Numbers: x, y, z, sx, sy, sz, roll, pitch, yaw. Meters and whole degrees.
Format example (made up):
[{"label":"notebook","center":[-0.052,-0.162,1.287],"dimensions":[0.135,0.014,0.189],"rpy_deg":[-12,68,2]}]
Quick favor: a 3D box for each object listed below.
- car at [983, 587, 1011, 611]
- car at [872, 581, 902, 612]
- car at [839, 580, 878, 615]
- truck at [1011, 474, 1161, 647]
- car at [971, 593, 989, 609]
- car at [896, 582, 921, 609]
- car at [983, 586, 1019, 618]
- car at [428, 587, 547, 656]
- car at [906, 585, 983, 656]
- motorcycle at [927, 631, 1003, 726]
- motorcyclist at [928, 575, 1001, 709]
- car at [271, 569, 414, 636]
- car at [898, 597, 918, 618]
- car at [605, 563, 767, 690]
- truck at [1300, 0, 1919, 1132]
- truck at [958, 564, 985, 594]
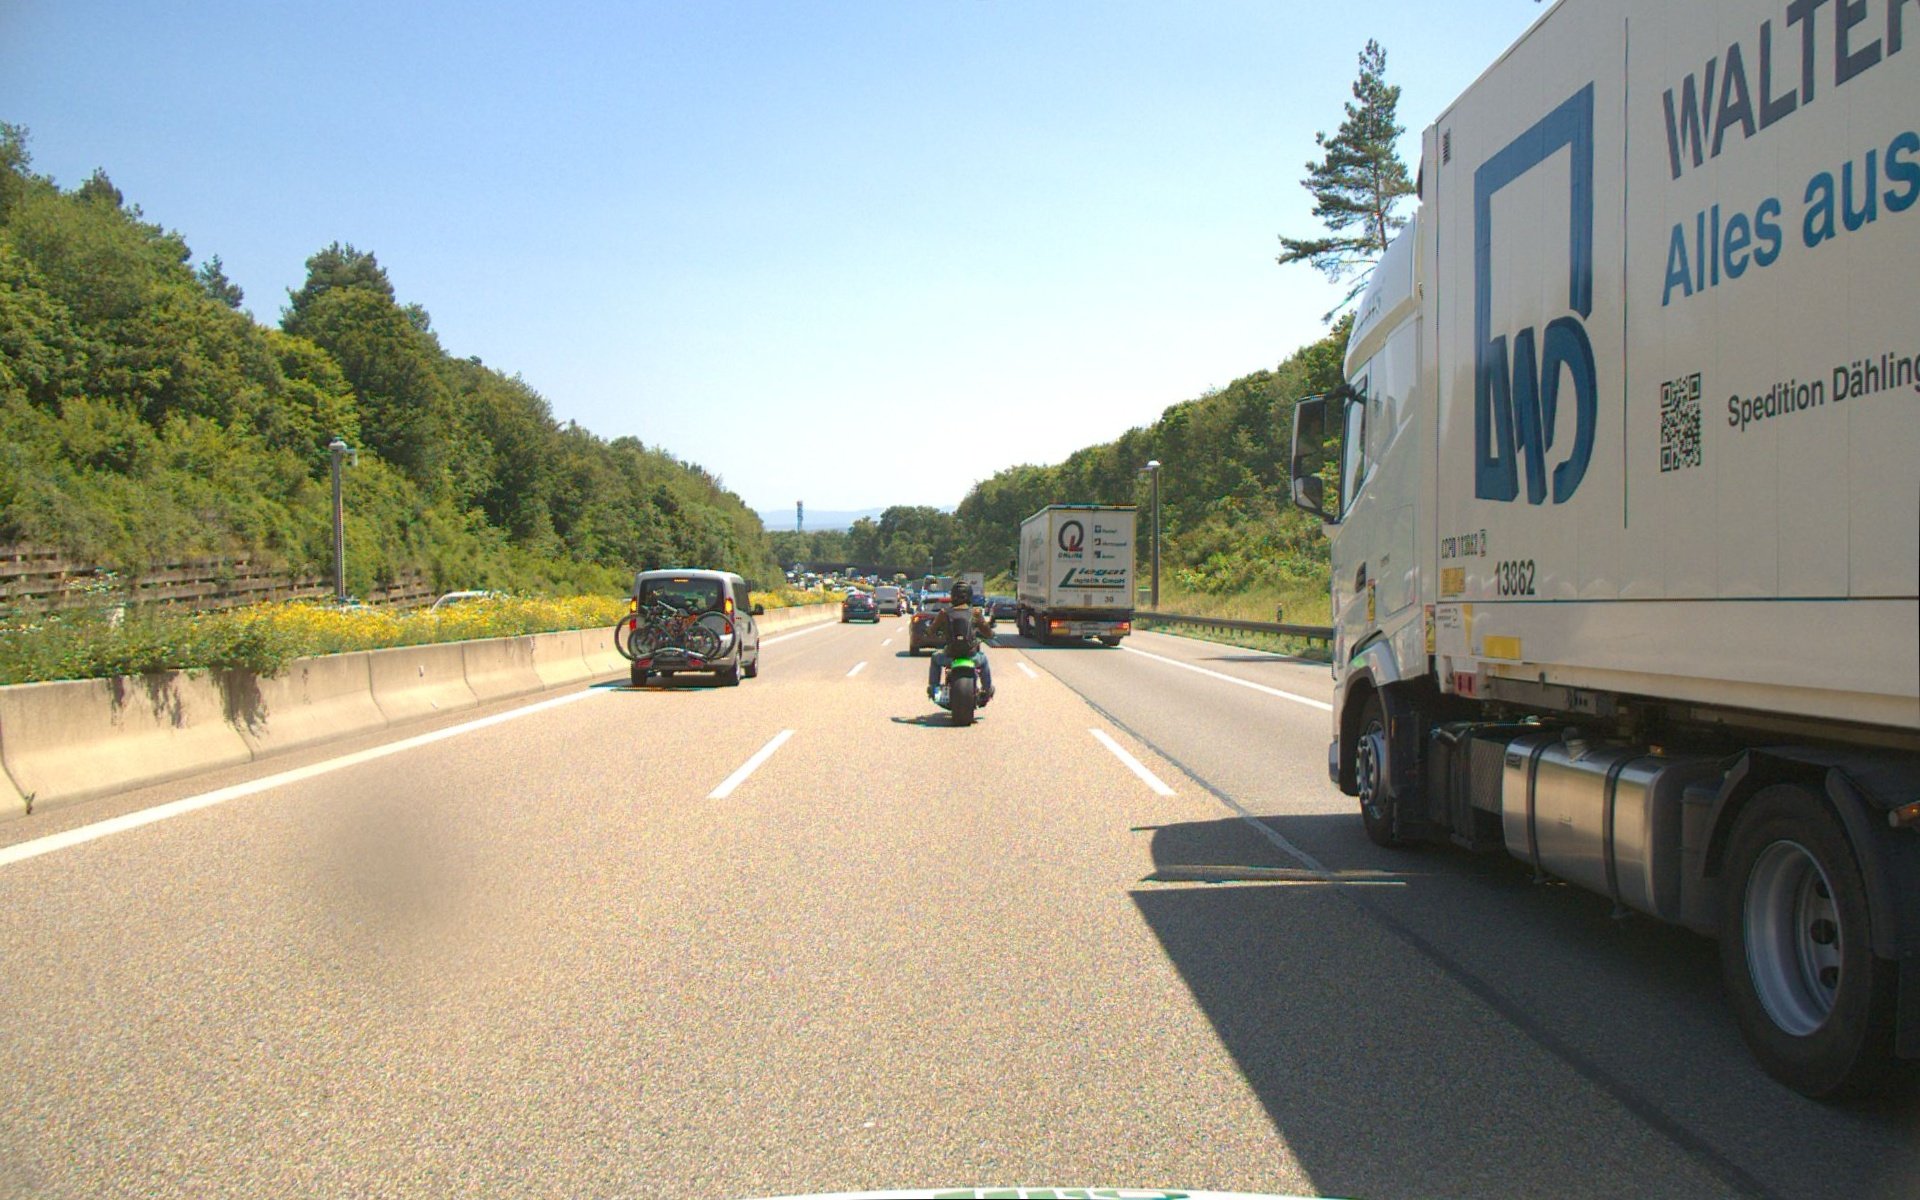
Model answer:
[{"label":"car","center":[2.573,-0.076,116.594],"dimensions":[1.794,1.585,4.119],"rpy_deg":[1,1,-1]},{"label":"car","center":[-4.628,-0.214,105.542],"dimensions":[1.794,1.842,4.119],"rpy_deg":[1,1,-1]},{"label":"car","center":[-5.049,-0.140,82.401],"dimensions":[1.722,1.570,4.394],"rpy_deg":[1,1,-1]},{"label":"truck","center":[3.827,-1.298,55.582],"dimensions":[3.314,4.800,17.707],"rpy_deg":[2,1,-1]},{"label":"car","center":[2.107,0.064,174.180],"dimensions":[1.794,1.585,4.119],"rpy_deg":[1,1,-1]},{"label":"car","center":[-3.807,-0.371,122.459],"dimensions":[1.794,1.842,4.119],"rpy_deg":[1,1,-1]},{"label":"car","center":[2.230,0.088,90.612],"dimensions":[1.794,1.585,4.119],"rpy_deg":[1,1,-1]},{"label":"car","center":[-11.373,0.483,40.054],"dimensions":[1.752,1.548,4.202],"rpy_deg":[-1,0,-2]},{"label":"car","center":[-0.419,0.463,41.499],"dimensions":[1.808,1.584,4.439],"rpy_deg":[1,1,-1]},{"label":"motorcycle","center":[0.058,0.910,19.715],"dimensions":[0.844,0.999,2.131],"rpy_deg":[0,1,0]},{"label":"motorcyclist","center":[0.055,0.481,19.570],"dimensions":[0.838,1.541,0.914],"rpy_deg":[0,0,0]},{"label":"car","center":[-15.114,0.035,40.730],"dimensions":[1.897,1.548,4.203],"rpy_deg":[-1,0,0]},{"label":"car","center":[-4.895,0.721,155.493],"dimensions":[1.794,1.842,4.119],"rpy_deg":[1,1,-1]},{"label":"car","center":[-4.430,0.369,27.558],"dimensions":[1.860,1.880,5.482],"rpy_deg":[1,1,-1]},{"label":"truck","center":[3.862,-0.686,6.761],"dimensions":[2.625,4.130,10.625],"rpy_deg":[1,1,0]},{"label":"truck","center":[1.315,-2.504,198.180],"dimensions":[3.005,3.404,9.651],"rpy_deg":[2,1,-1]}]
